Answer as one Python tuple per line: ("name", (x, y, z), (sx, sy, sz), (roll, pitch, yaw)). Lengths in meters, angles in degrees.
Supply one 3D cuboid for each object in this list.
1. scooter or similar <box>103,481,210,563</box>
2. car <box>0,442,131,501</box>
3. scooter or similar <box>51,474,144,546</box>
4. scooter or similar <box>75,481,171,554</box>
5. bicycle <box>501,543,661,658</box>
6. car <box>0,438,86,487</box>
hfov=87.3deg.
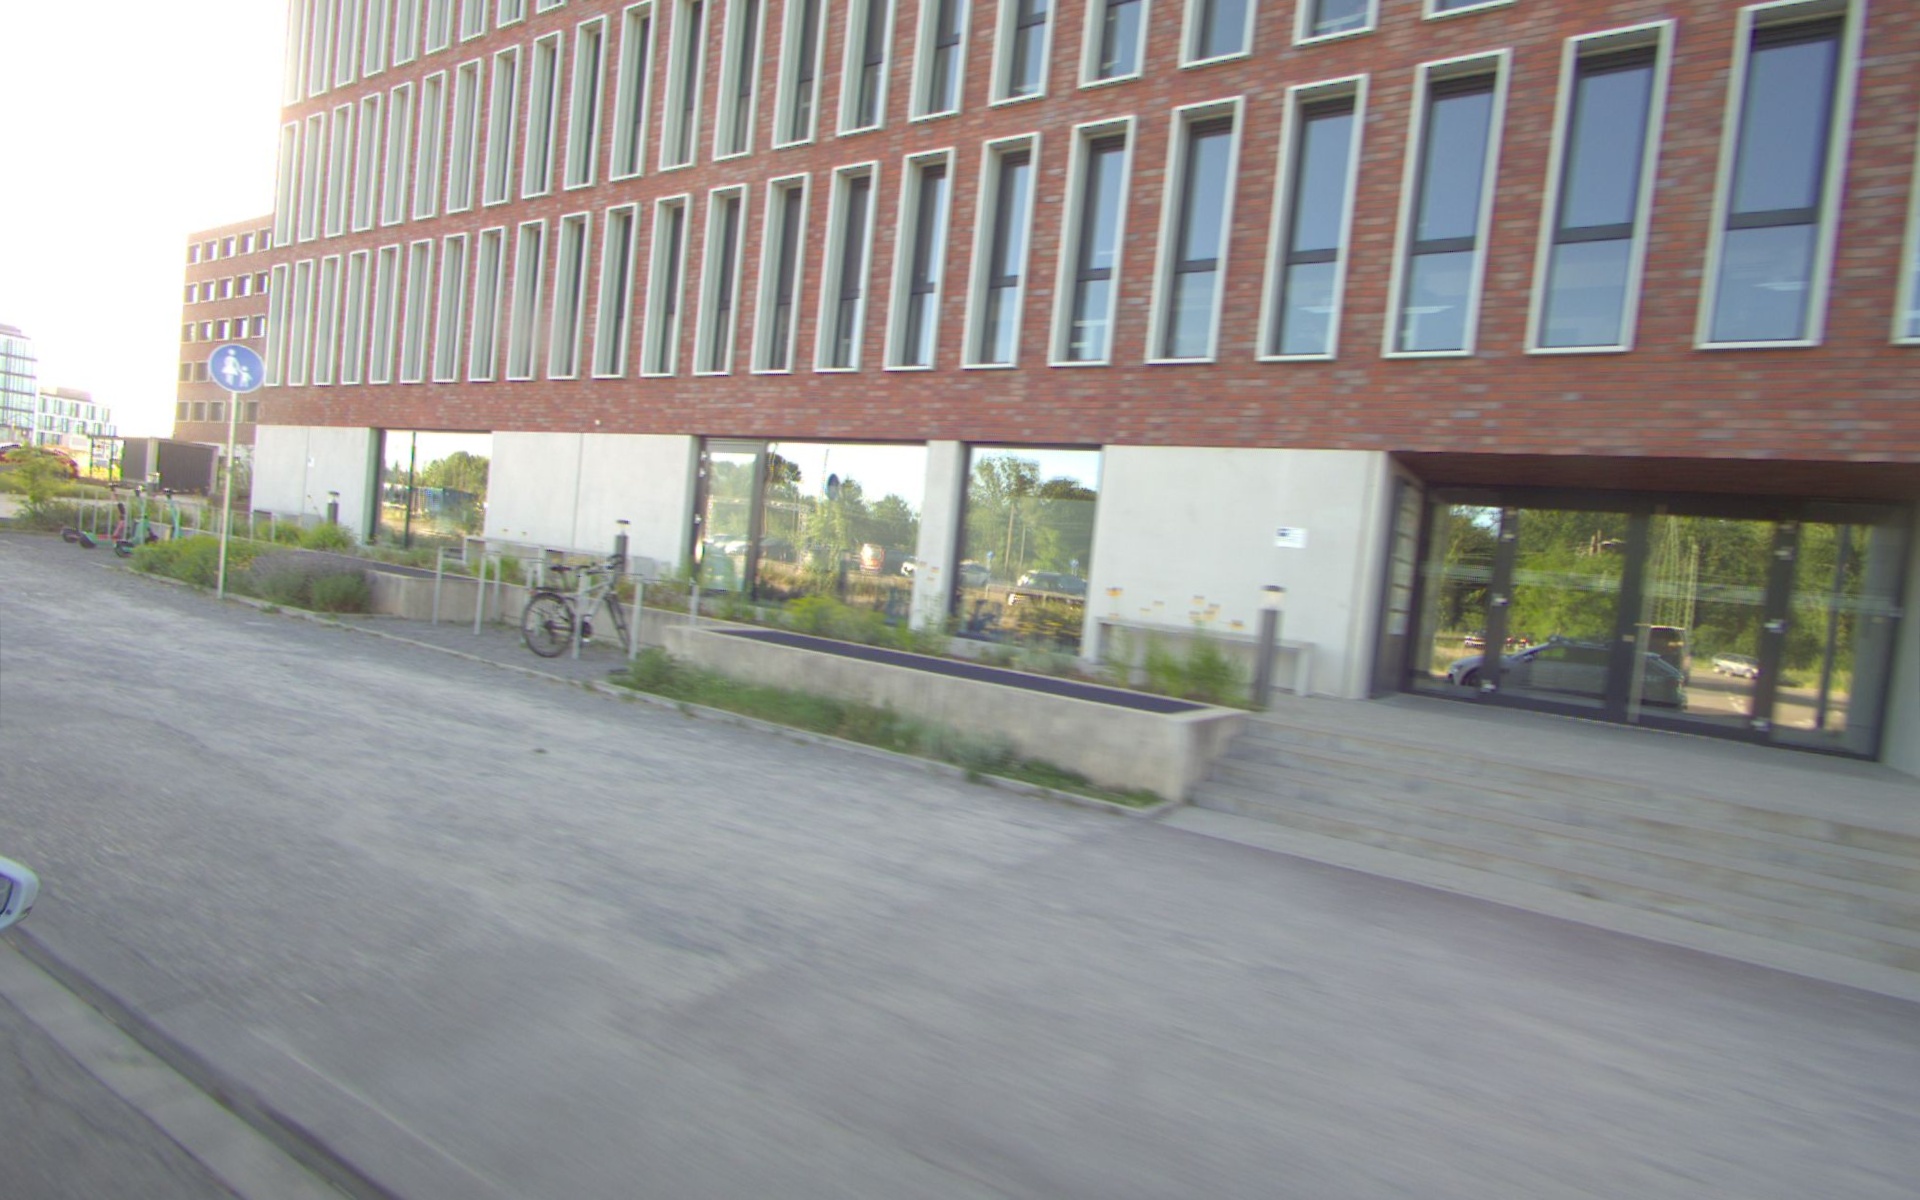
("scooter or similar", (-14.010, -1.340, 17.571), (0.417, 1.262, 1.340), (9, 3, 35))
("car", (-34.606, -4.924, 38.373), (1.822, 1.600, 4.185), (9, 2, 34))
("scooter or similar", (-16.468, -1.700, 19.230), (0.335, 1.211, 1.242), (9, 3, 35))
("scooter or similar", (-15.295, -1.500, 18.401), (0.360, 1.171, 1.242), (9, 3, 35))
("bicycle", (-4.319, 0.013, 11.620), (0.368, 1.186, 1.934), (8, 3, 25))
("car", (-39.981, -5.901, 42.557), (1.822, 1.600, 4.185), (7, 1, 34))
